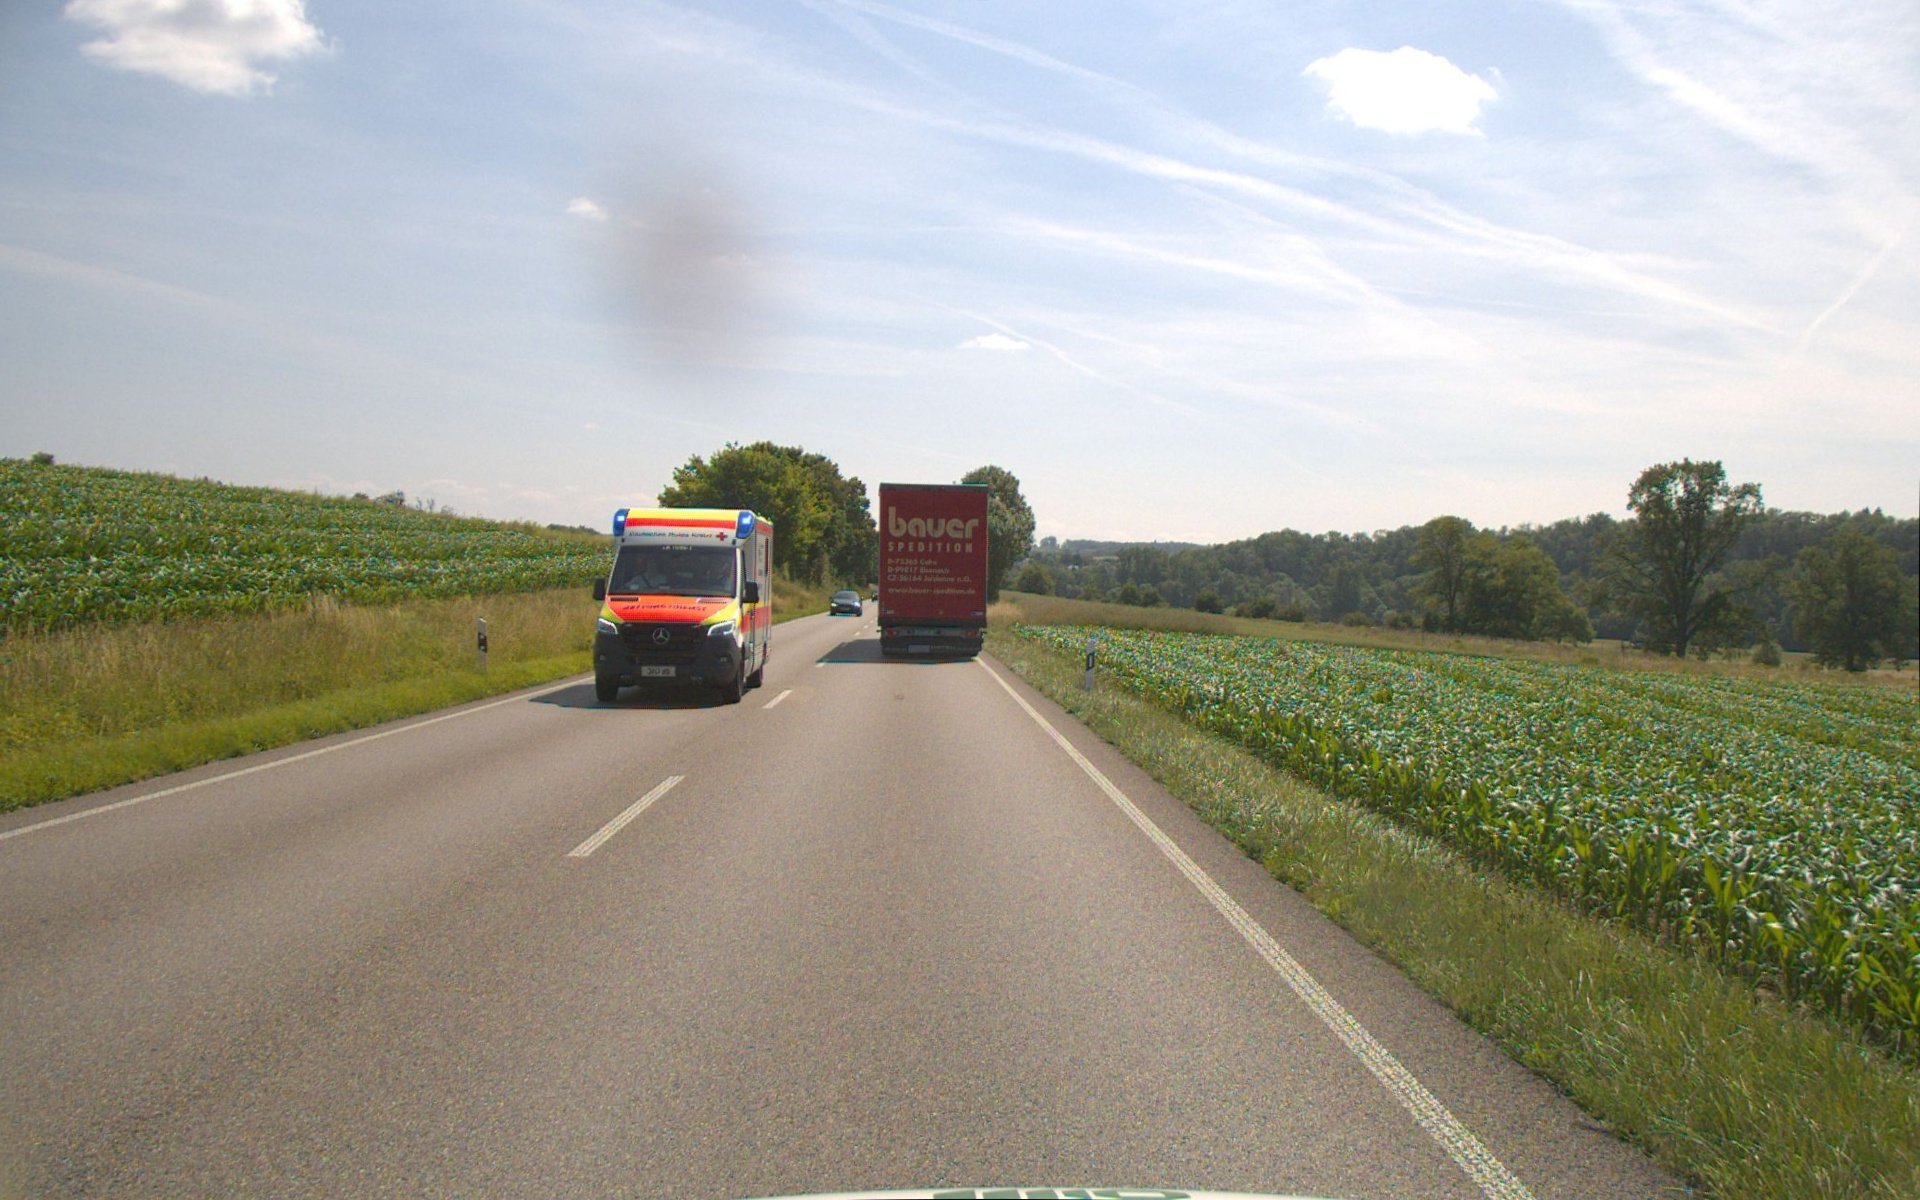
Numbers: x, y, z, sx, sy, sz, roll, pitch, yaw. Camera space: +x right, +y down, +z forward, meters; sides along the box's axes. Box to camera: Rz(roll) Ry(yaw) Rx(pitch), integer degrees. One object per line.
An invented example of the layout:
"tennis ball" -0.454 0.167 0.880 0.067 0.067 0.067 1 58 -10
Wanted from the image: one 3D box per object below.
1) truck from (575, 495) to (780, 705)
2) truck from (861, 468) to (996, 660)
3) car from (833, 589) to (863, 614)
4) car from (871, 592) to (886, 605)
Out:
"truck" -4.026 0.006 24.773 2.163 2.718 6.414 0 0 -2
"truck" -0.712 -0.784 41.725 3.031 4.337 8.313 1 -1 0
"car" -6.733 0.080 100.028 1.639 1.482 4.349 1 0 -2
"car" -9.972 -0.207 202.406 1.623 1.561 4.356 2 0 -2
